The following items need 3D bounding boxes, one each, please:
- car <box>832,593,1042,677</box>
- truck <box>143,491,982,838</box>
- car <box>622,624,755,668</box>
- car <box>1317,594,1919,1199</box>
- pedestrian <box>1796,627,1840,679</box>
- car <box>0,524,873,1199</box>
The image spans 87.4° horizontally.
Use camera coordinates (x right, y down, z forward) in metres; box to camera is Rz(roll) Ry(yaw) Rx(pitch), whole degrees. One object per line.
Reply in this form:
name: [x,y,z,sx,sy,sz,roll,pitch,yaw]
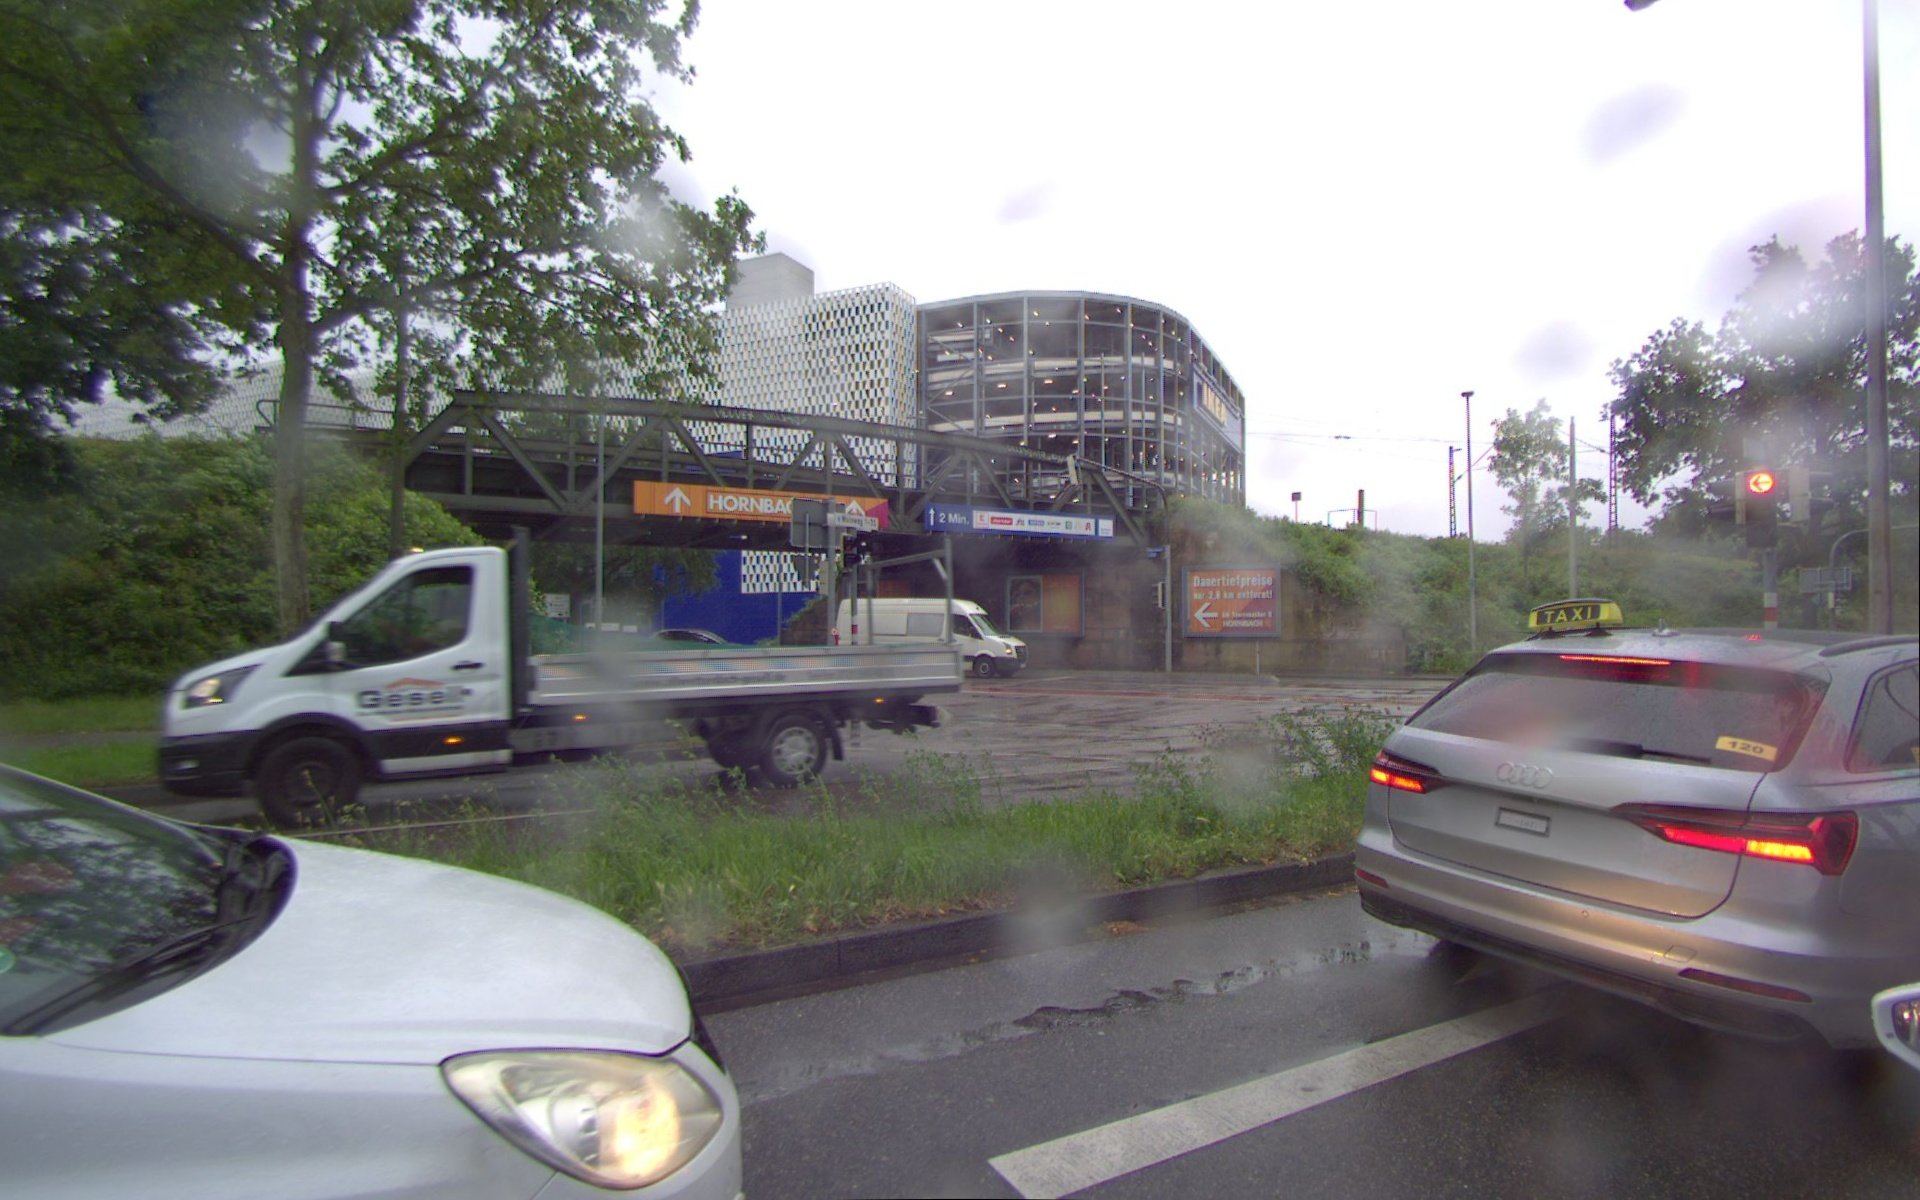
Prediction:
car: [-0.817,1.194,34.414,6.847,2.645,2.386,-1,-2,25]
truck: [-3.300,0.555,9.747,6.787,2.396,2.463,1,-2,-30]
car: [-10.529,1.761,38.923,4.858,1.621,1.882,-1,-2,24]
car: [3.927,0.829,4.517,4.766,1.595,1.760,1,0,-31]
pedestrian: [31.853,1.952,37.299,1.122,1.871,1.092,2,-2,-41]
car: [-2.256,0.591,1.227,3.966,1.395,1.669,1,0,-32]
